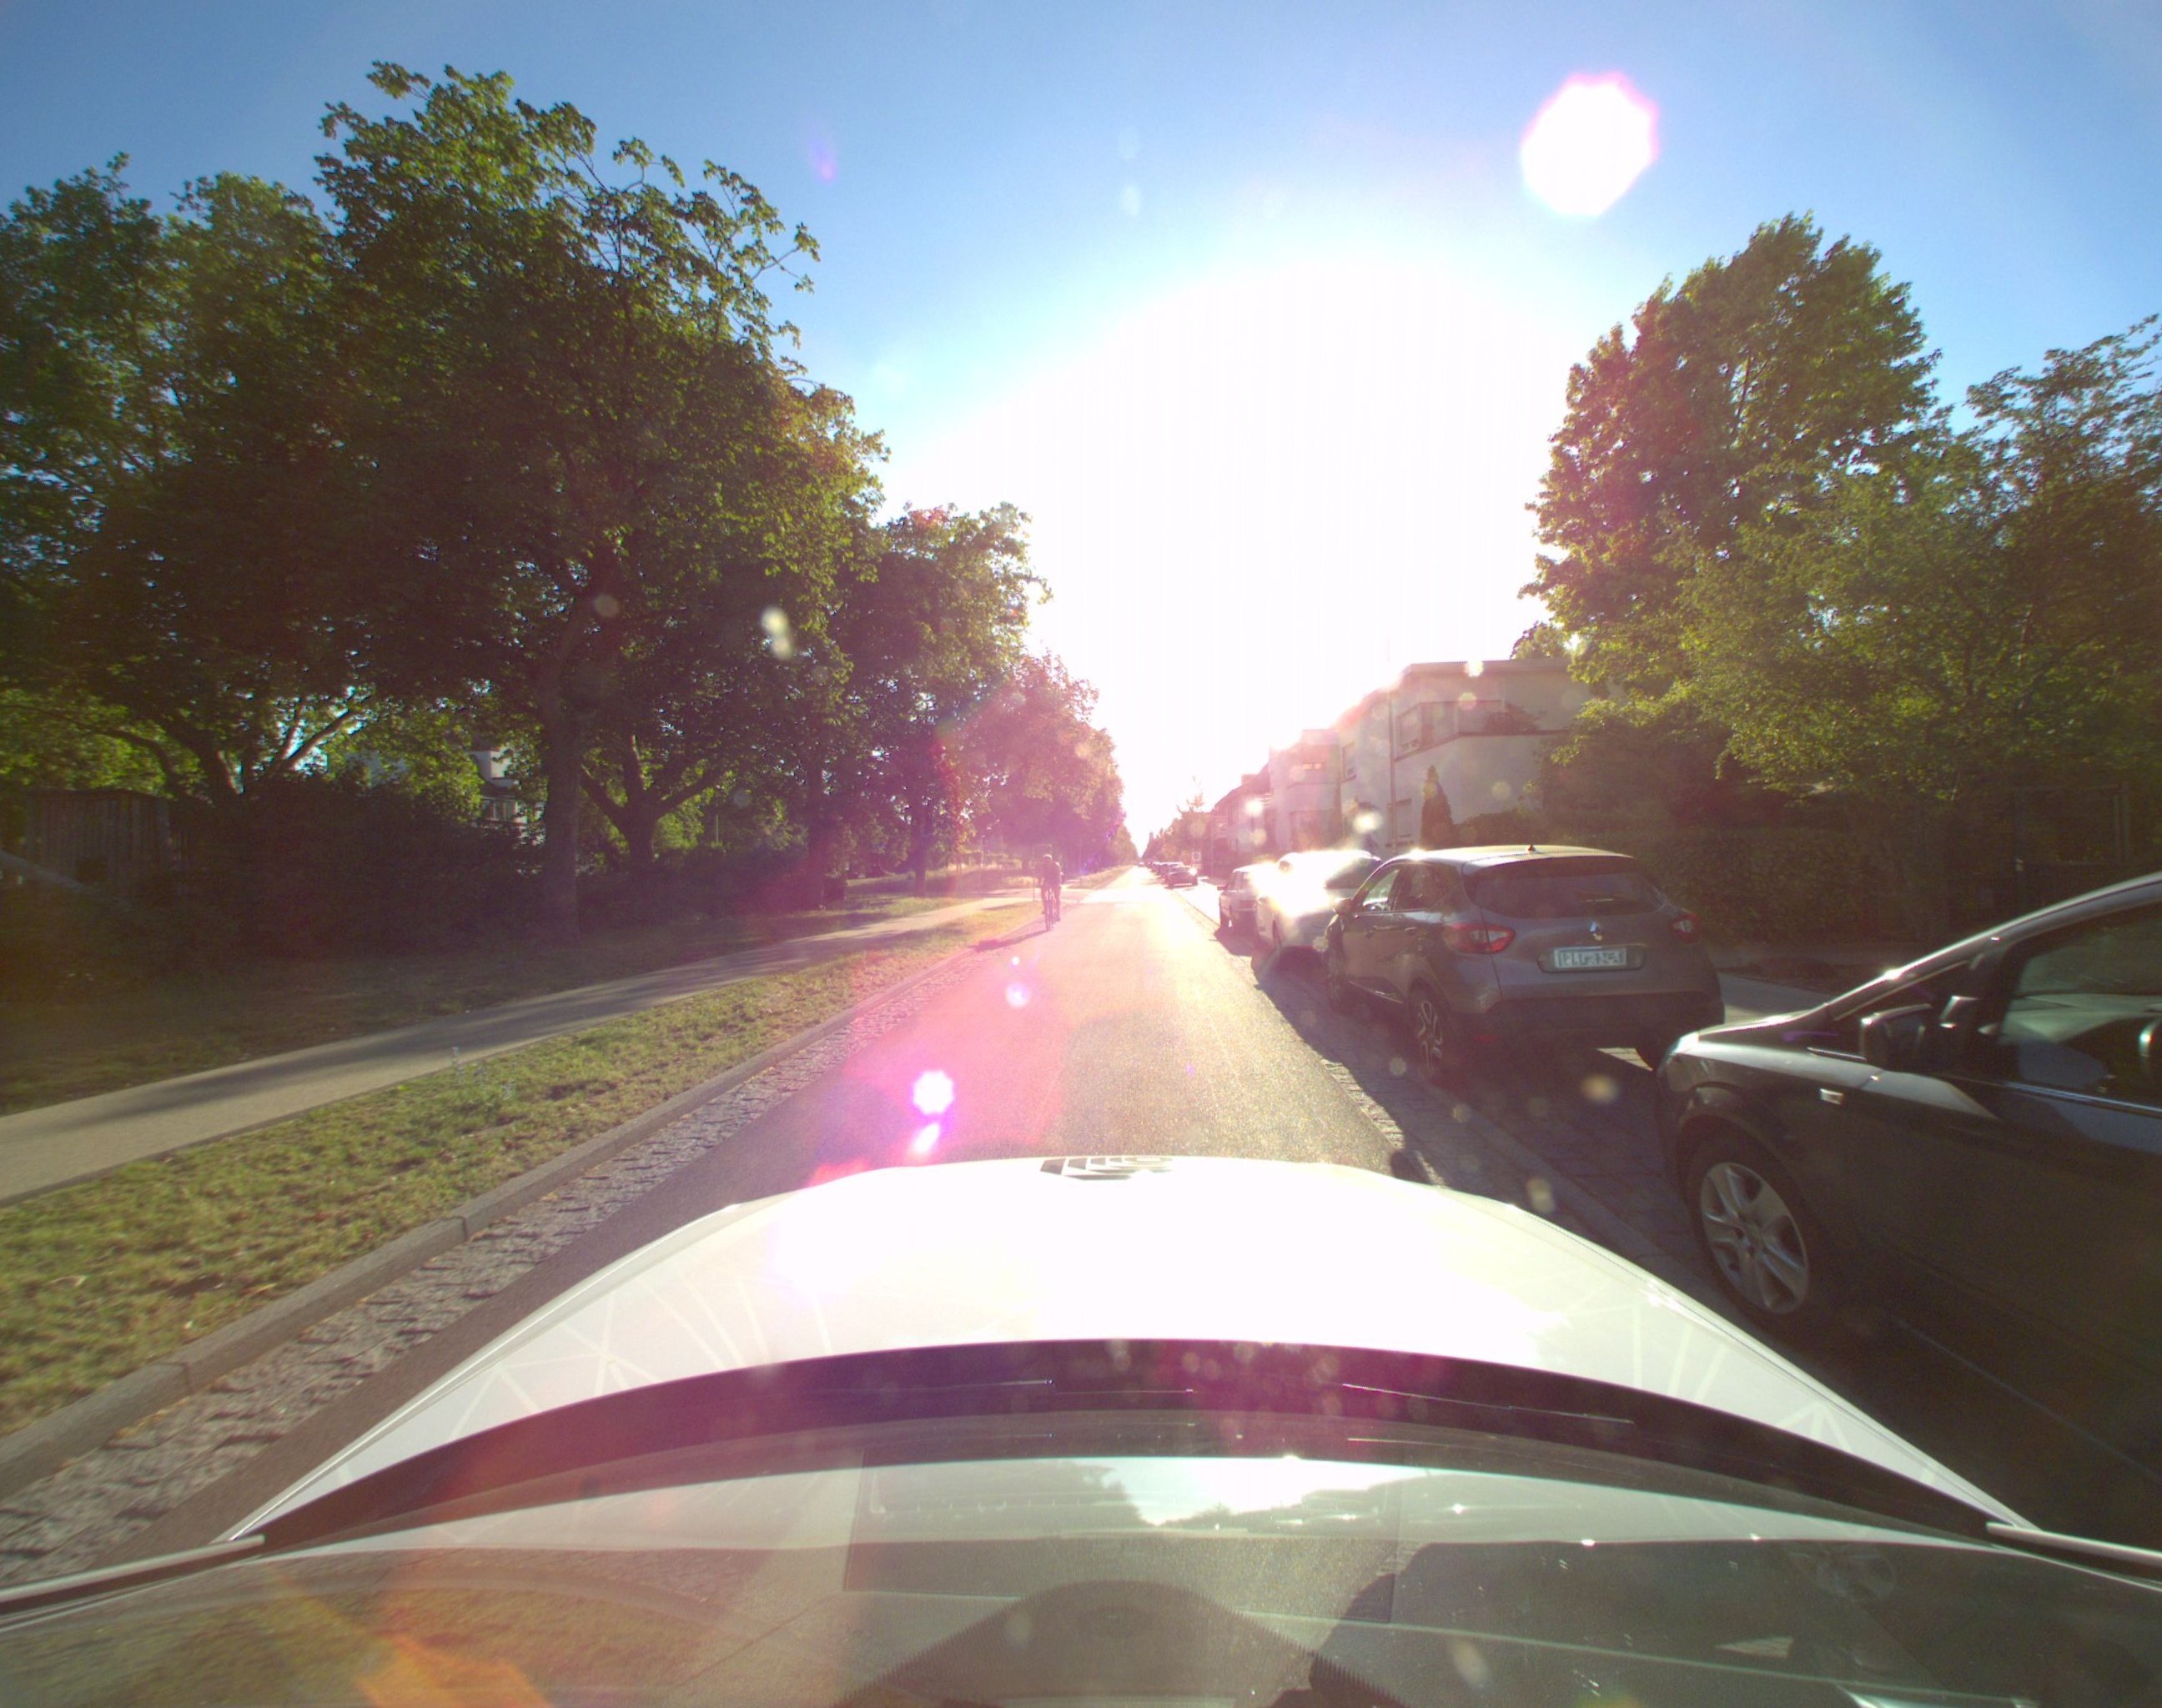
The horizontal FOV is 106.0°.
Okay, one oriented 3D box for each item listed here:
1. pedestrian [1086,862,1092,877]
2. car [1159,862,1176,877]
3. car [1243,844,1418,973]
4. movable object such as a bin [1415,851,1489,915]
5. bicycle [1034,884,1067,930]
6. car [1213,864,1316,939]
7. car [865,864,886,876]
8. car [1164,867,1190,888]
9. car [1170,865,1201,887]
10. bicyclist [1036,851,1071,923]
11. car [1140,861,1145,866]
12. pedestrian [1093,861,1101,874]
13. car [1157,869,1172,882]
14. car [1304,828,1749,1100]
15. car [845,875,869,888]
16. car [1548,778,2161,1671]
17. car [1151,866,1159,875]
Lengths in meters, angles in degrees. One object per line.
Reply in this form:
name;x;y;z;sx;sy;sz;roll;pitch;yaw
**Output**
pedestrian;1.031;1.913;100.023;0.621;1.831;0.888;-1;-1;8
car;9.149;1.594;86.124;1.620;1.505;3.638;-3;-1;5
car;3.537;0.711;12.298;1.670;1.556;4.136;-2;-1;5
movable object such as a bin;8.484;0.655;18.692;1.231;1.432;1.125;-1;-1;6
bicycle;-0.720;1.252;19.730;0.554;1.032;1.916;-2;-2;4
car;3.901;0.948;17.943;1.556;1.390;4.379;-2;-1;5
car;-28.832;2.271;114.558;1.685;1.597;4.225;-1;-1;3
car;7.756;1.889;66.094;1.737;1.474;3.925;-4;-1;3
car;6.999;1.452;54.786;1.766;1.288;4.278;-4;0;5
bicyclist;-0.656;0.799;19.721;0.678;1.673;1.173;-2;-2;4
car;18.816;2.984;248.144;1.644;1.541;3.270;0;-1;4
pedestrian;1.986;1.669;100.275;0.779;1.614;0.954;-1;-1;7
car;10.464;2.712;102.302;1.729;1.449;4.200;-2;-2;3
car;3.203;0.689;6.913;1.671;1.556;4.148;-2;-1;4
car;-28.763;3.471;104.579;1.685;1.597;4.225;-1;-1;3
car;2.758;0.628;1.332;1.703;1.611;4.172;-3;-1;3
car;14.082;3.074;154.284;1.491;1.567;3.271;-1;-1;5
